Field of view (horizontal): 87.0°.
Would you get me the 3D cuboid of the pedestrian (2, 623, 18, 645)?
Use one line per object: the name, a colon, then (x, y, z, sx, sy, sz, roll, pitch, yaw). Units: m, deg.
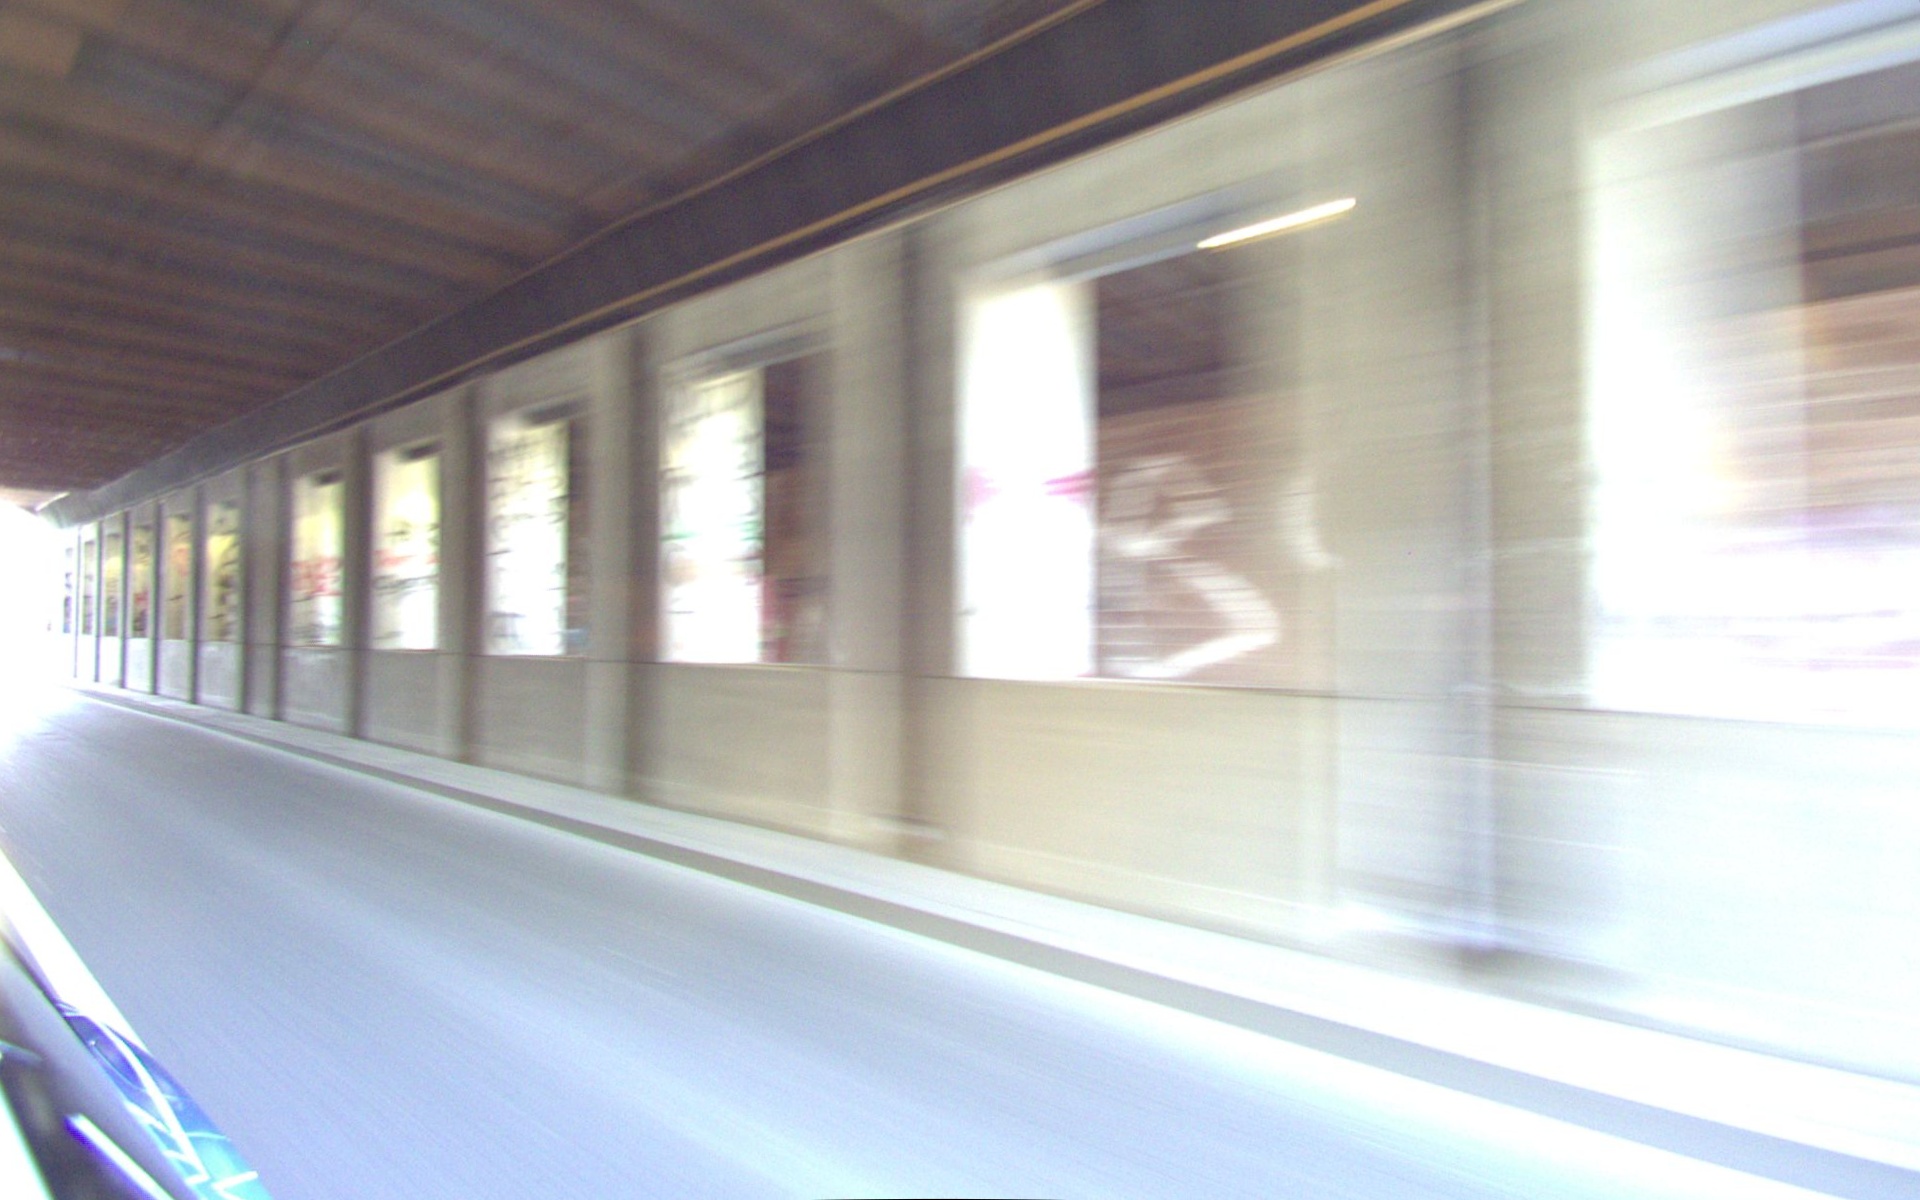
pedestrian: (-72.290, 2.568, 77.022, 1.181, 1.641, 0.823, -2, -1, 44)
